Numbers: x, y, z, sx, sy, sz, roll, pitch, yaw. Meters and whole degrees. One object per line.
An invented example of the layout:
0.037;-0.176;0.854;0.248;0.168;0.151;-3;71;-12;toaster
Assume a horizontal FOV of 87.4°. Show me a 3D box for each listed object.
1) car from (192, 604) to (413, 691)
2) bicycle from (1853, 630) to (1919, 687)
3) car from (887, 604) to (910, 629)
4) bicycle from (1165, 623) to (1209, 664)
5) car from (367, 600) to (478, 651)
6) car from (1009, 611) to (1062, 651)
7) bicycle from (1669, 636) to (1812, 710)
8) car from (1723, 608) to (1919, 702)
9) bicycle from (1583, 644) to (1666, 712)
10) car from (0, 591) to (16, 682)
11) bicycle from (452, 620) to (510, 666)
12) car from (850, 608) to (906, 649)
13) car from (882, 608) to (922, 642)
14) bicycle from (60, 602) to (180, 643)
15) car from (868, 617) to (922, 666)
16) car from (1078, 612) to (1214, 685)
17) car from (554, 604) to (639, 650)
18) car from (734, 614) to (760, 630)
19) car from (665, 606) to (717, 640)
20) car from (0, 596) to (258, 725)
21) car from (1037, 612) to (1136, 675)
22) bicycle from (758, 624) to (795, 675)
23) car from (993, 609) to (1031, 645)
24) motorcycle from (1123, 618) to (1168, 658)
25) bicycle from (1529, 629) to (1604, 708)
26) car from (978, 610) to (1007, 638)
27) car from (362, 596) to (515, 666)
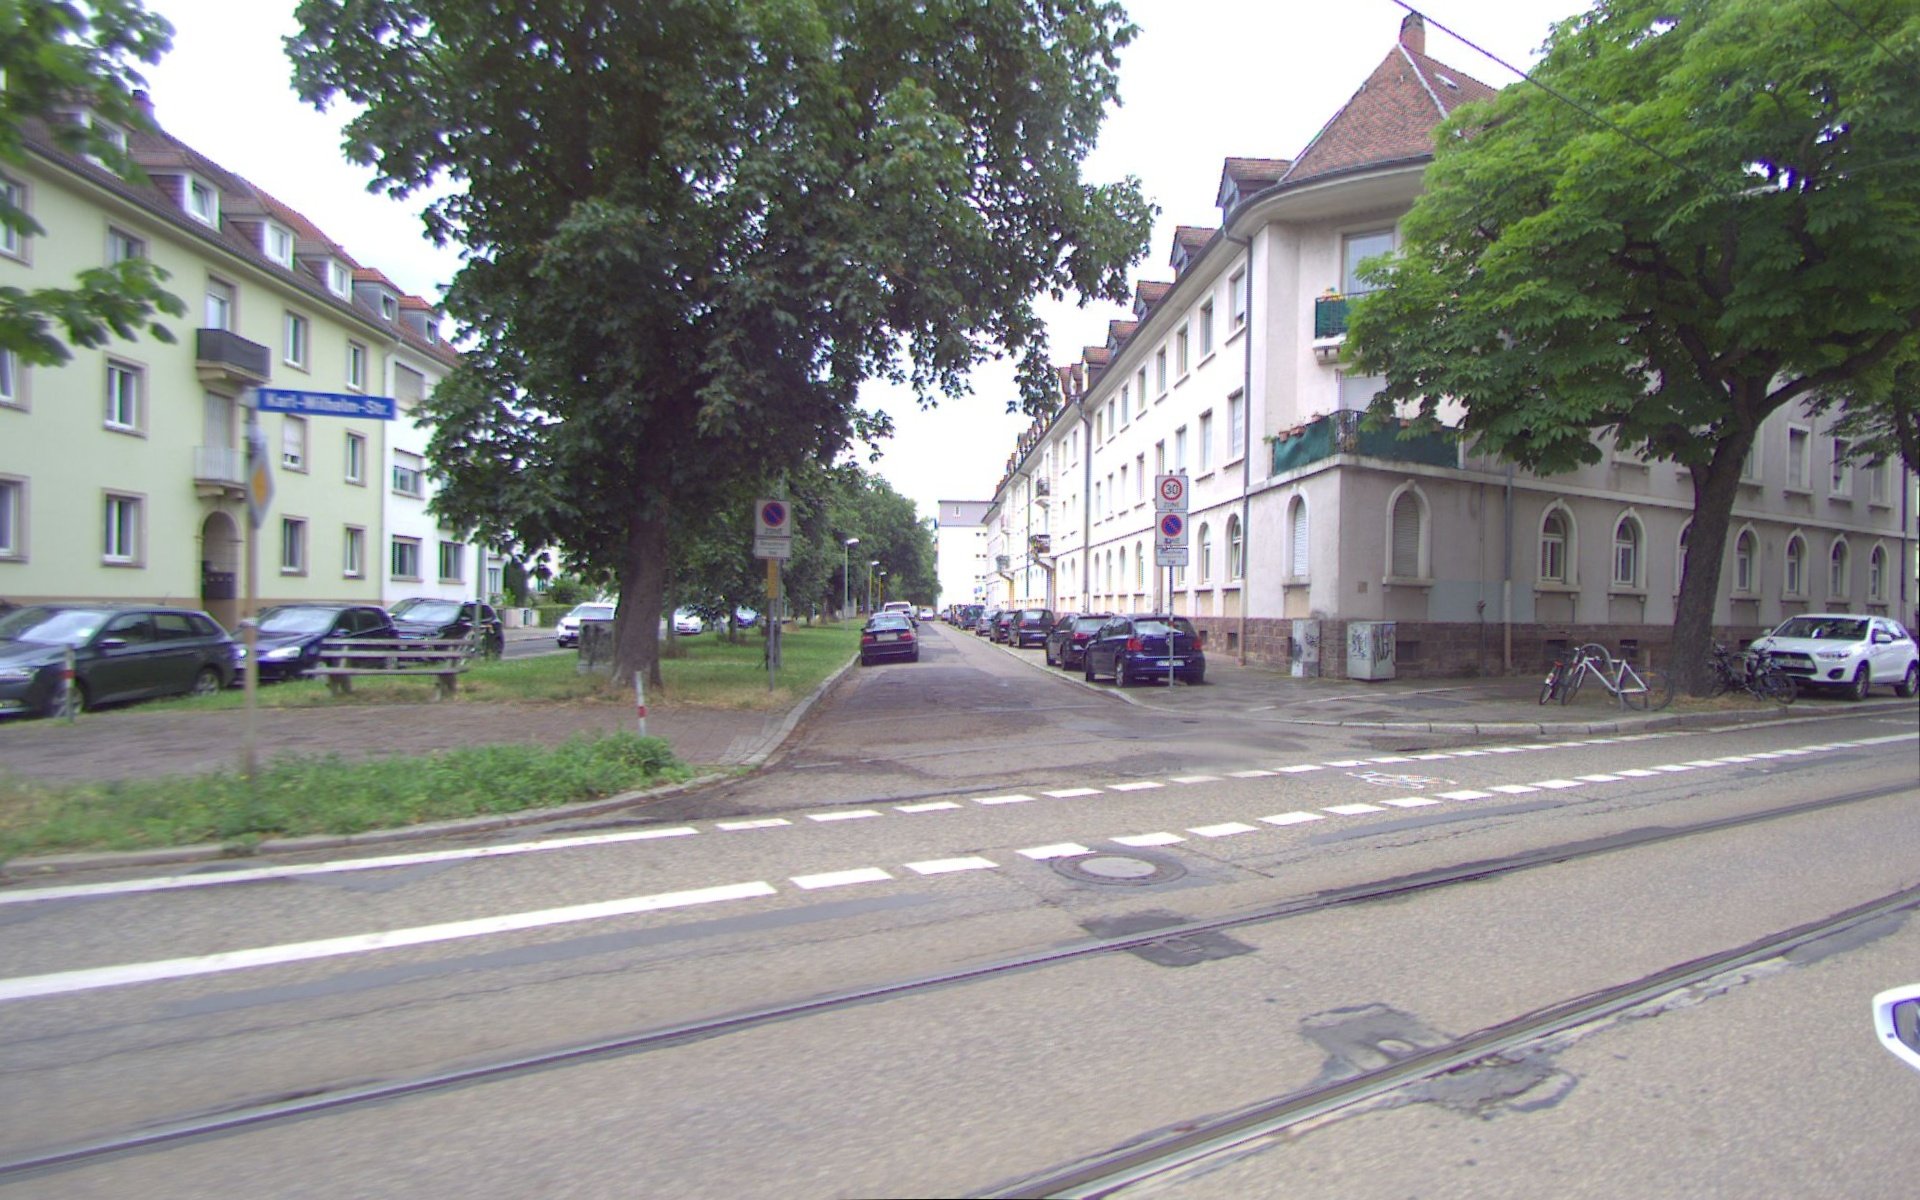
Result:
-11.965;0.793;18.615;1.633;1.364;4.008;1;0;-4;car
21.834;1.353;23.162;0.642;1.208;1.743;1;1;-15;bicycle
-3.594;0.931;58.396;1.270;1.409;3.116;1;0;-4;car
6.156;1.165;27.328;0.681;1.014;2.023;1;0;-2;bicycle
-18.029;0.822;33.918;1.739;1.572;4.150;2;-1;-4;car
2.955;1.203;39.826;1.642;1.460;3.498;1;0;-3;car
13.979;1.282;18.060;0.616;1.136;1.913;1;1;-30;bicycle
17.455;1.045;20.265;4.177;1.677;1.887;1;0;-32;car
10.214;1.181;15.427;1.381;0.971;0.481;1;0;-30;bicycle
-17.003;0.593;15.202;1.705;1.533;4.046;3;0;-3;car
-10.032;0.894;21.078;0.569;0.908;1.395;1;0;-2;bicycle
-3.044;1.046;38.028;1.640;1.428;4.001;1;0;2;car
-2.876;1.177;48.832;1.812;1.554;3.997;1;0;-5;car
-20.678;0.530;24.821;0.804;0.913;2.665;4;-1;-3;bicycle
-1.914;1.210;30.112;1.329;1.317;2.968;1;0;1;car
3.690;0.930;20.597;1.708;1.324;3.757;1;-1;-7;car
-12.917;0.937;35.939;1.768;1.573;4.187;0;-1;-4;car
-14.695;1.513;69.308;1.273;1.002;3.166;1;0;-4;car
-13.656;1.145;51.225;1.729;1.573;4.187;1;0;-4;car
-11.644;0.686;13.484;1.629;1.429;4.069;1;0;-1;car
3.247;1.095;26.556;1.675;1.483;3.940;1;0;-7;car
-3.744;1.002;20.574;0.440;0.937;1.674;4;0;-2;bicycle
2.296;1.186;45.067;1.511;1.494;4.000;1;0;0;car
5.721;1.144;31.225;0.666;1.149;3.455;1;0;-1;motorcycle
9.894;1.083;16.367;0.667;1.151;1.925;0;0;43;bicycle
1.800;1.320;56.377;1.362;1.449;3.310;1;0;-3;car
-12.297;0.675;24.012;1.670;1.500;4.187;1;0;-4;car
